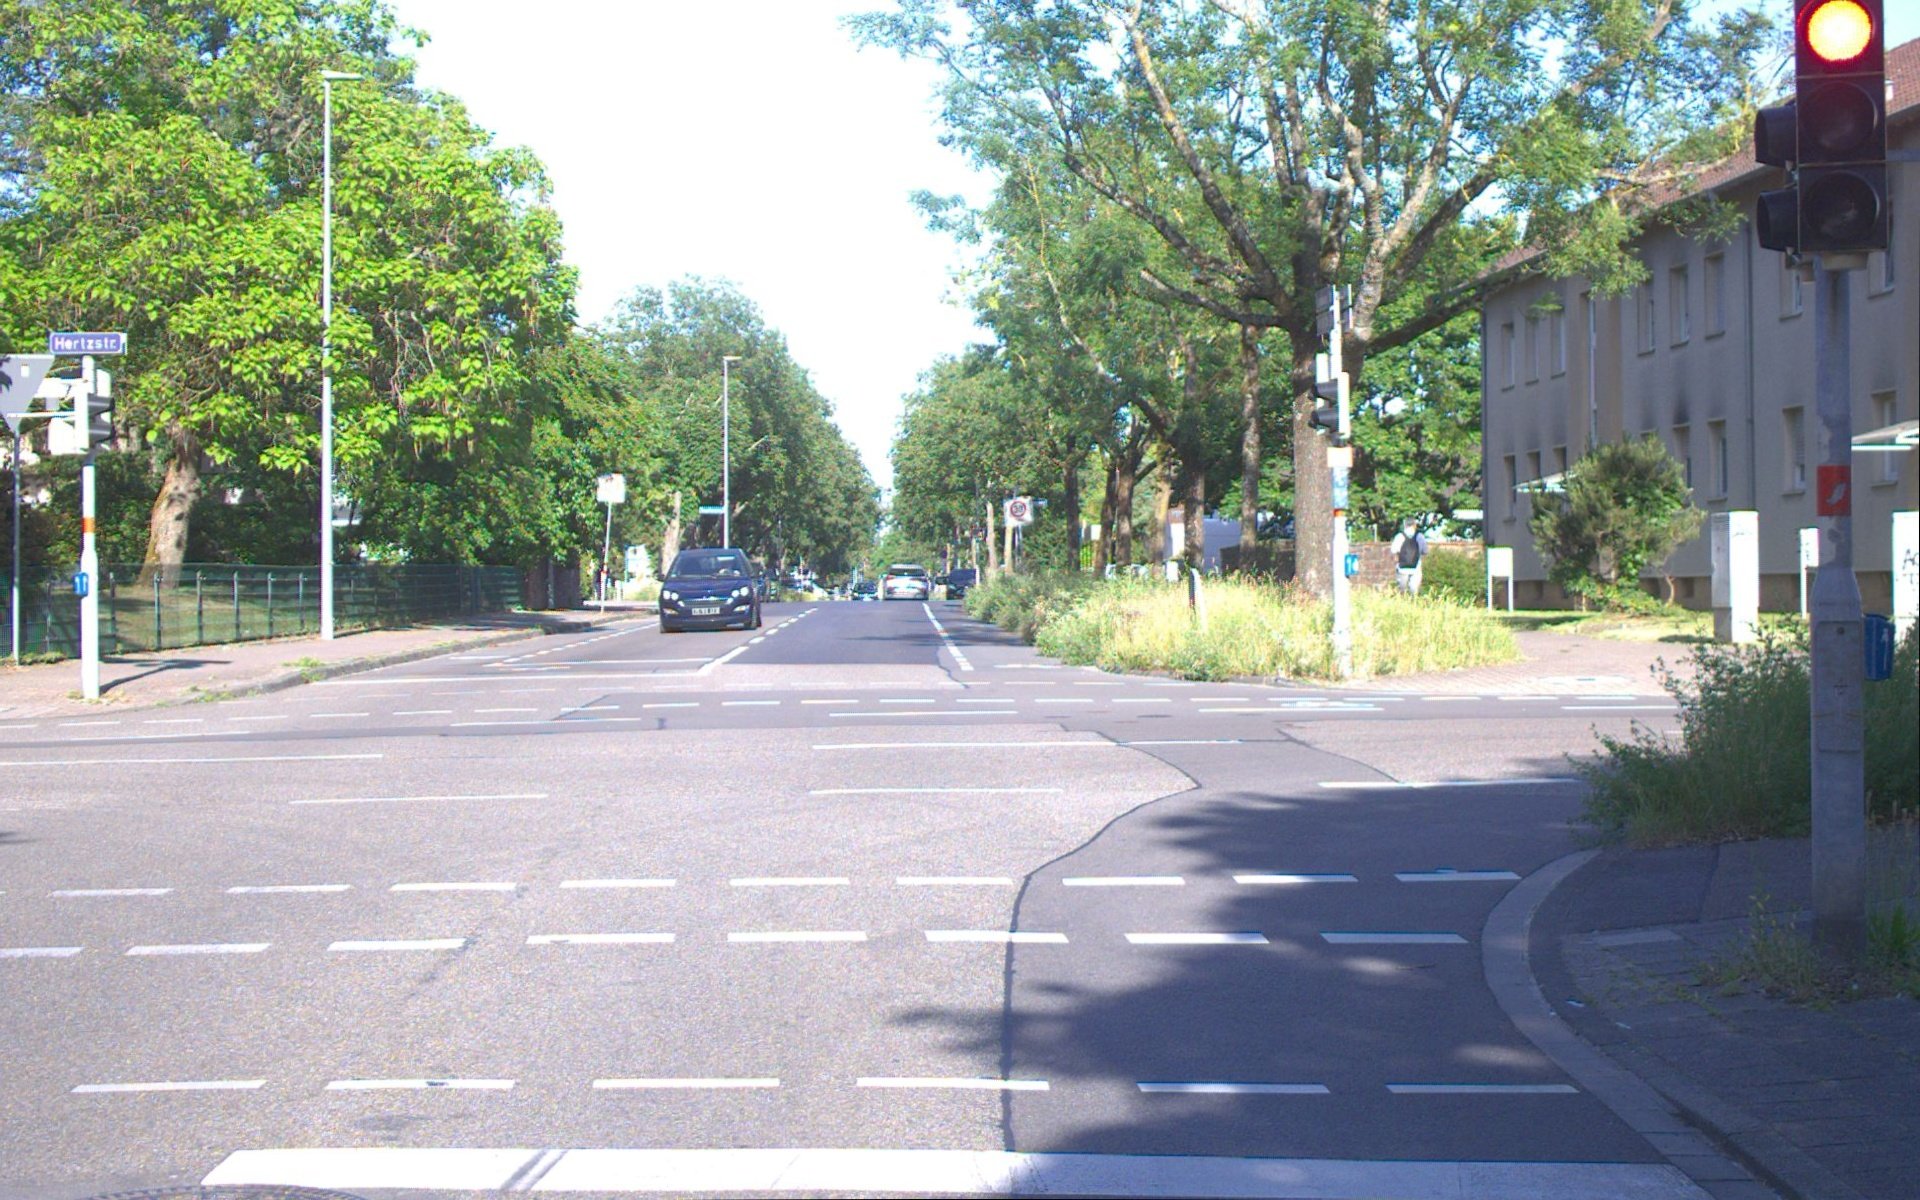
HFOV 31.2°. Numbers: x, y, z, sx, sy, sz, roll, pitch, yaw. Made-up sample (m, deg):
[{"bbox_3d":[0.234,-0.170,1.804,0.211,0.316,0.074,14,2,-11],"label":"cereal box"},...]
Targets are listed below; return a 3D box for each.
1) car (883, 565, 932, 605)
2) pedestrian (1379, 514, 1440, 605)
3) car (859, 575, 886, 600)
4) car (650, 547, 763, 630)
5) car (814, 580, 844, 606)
[{"bbox_3d":[-2.017,-0.597,132.212,1.844,1.456,3.530,0,1,-1],"label":"car"},{"bbox_3d":[7.503,-0.684,57.435,0.842,1.488,0.924,2,1,-1],"label":"pedestrian"},{"bbox_3d":[-5.975,-0.849,234.773,1.758,1.619,3.269,0,1,0],"label":"car"},{"bbox_3d":[-4.468,-0.218,60.904,1.711,1.381,3.471,0,1,0],"label":"car"},{"bbox_3d":[-8.541,-0.442,224.379,1.758,1.619,3.269,0,1,0],"label":"car"}]
